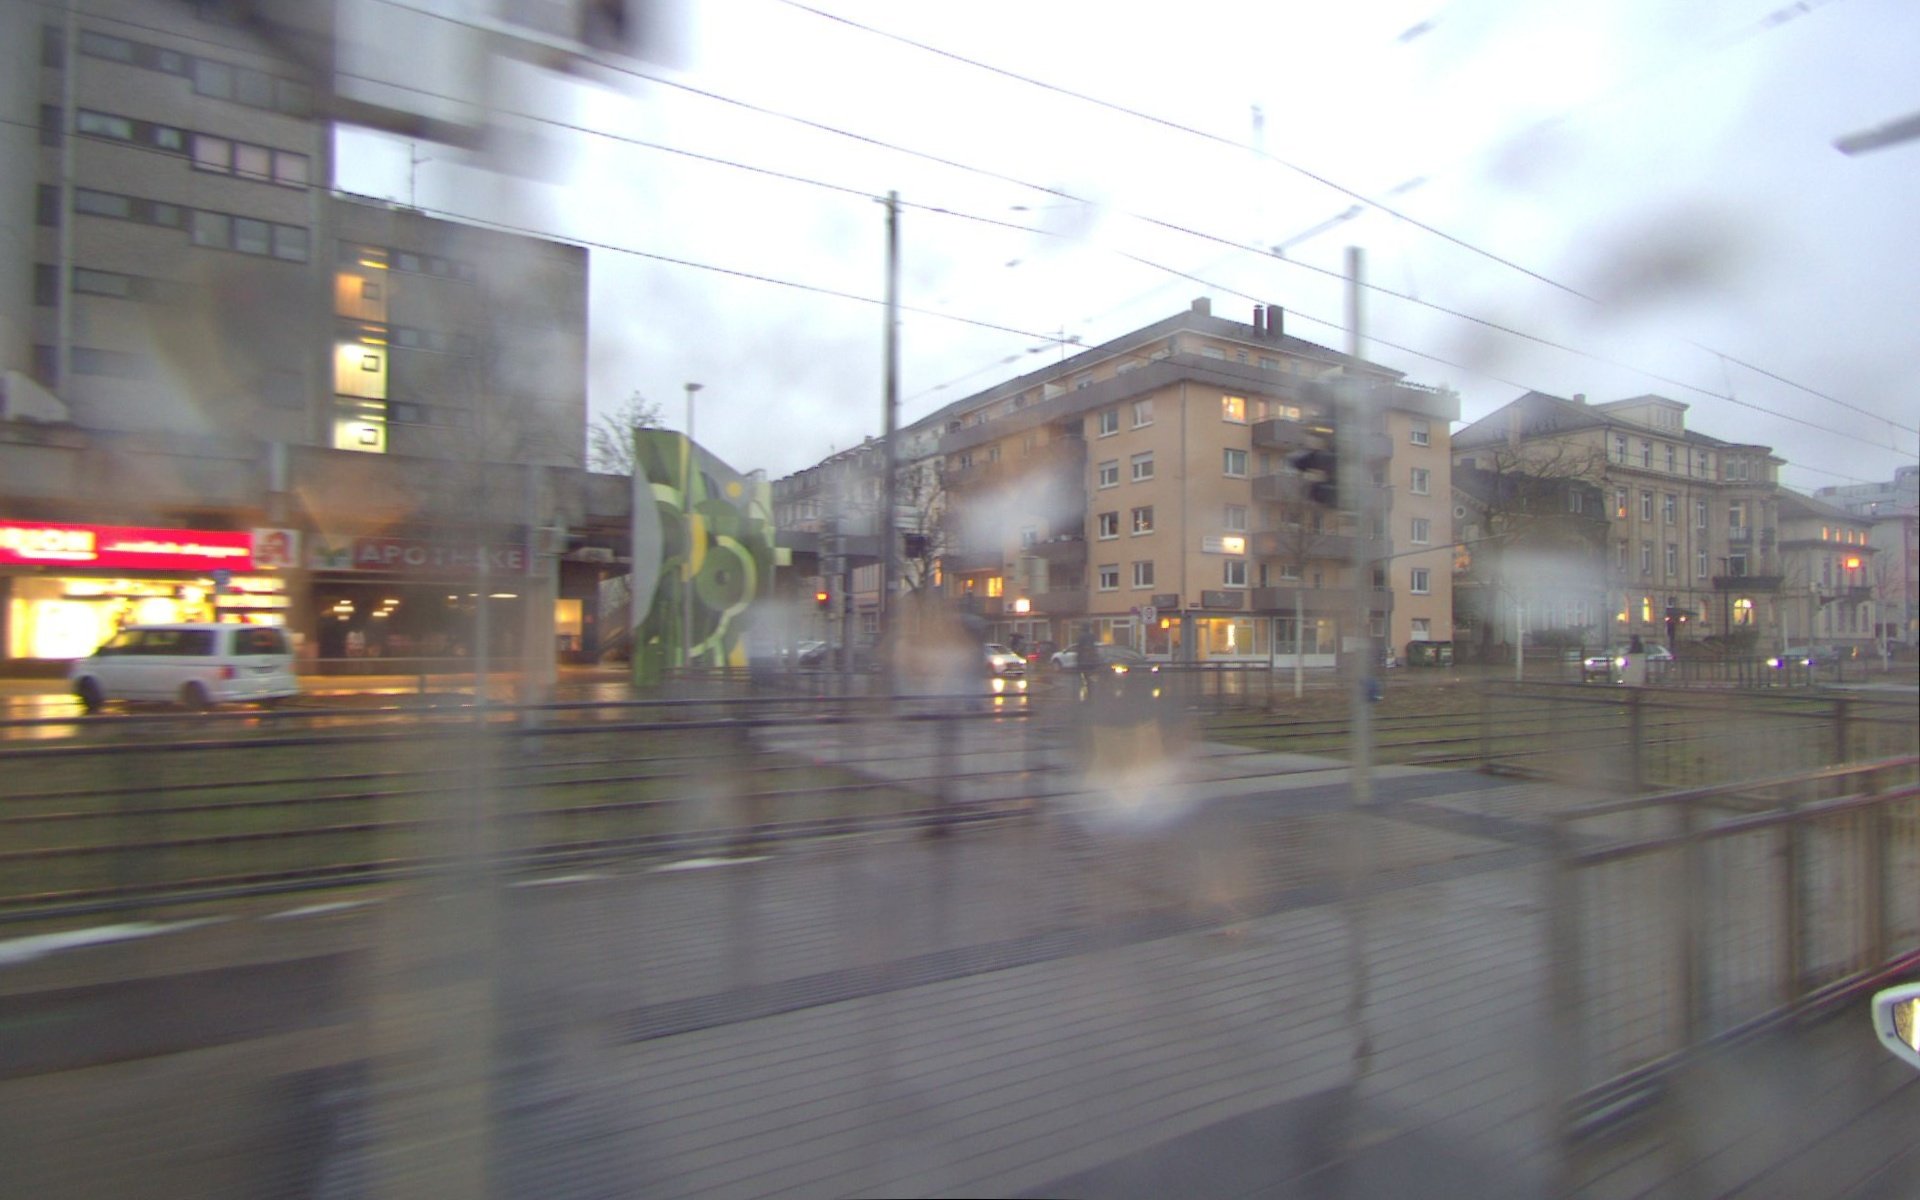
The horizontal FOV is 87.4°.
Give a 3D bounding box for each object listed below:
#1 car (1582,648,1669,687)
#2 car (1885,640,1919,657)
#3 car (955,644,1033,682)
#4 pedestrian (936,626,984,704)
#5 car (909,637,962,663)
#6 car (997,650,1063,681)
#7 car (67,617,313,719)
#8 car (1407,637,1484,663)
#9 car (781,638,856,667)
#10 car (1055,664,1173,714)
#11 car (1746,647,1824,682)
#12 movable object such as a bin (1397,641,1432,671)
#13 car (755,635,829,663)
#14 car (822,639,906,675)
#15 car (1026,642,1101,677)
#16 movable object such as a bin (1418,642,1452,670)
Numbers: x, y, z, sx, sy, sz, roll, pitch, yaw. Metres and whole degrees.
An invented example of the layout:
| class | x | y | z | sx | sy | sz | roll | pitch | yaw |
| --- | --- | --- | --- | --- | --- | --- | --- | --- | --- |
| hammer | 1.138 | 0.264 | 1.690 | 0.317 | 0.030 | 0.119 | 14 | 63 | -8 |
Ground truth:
| class | x | y | z | sx | sy | sz | roll | pitch | yaw |
| --- | --- | --- | --- | --- | --- | --- | --- | --- | --- |
| car | 30.119 | 3.024 | 45.461 | 3.955 | 1.606 | 1.792 | 2 | -1 | -32 |
| car | 82.120 | 4.171 | 87.140 | 3.885 | 1.455 | 1.796 | 1 | -3 | -33 |
| car | 1.535 | 2.905 | 46.982 | 1.667 | 1.531 | 3.964 | 2 | -1 | -33 |
| pedestrian | -0.007 | 1.285 | 20.088 | 0.625 | 1.509 | 0.784 | 1 | -2 | -38 |
| car | -1.605 | 3.133 | 63.704 | 1.738 | 1.572 | 3.806 | 1 | -2 | -31 |
| car | 3.762 | 3.530 | 54.636 | 1.738 | 1.572 | 3.806 | 1 | -2 | -31 |
| car | -17.504 | 1.477 | 22.917 | 4.480 | 2.040 | 2.001 | 2 | -1 | 13 |
| car | 29.969 | 3.071 | 62.134 | 1.813 | 1.425 | 3.966 | 3 | -2 | -31 |
| car | -7.476 | 2.755 | 53.165 | 3.542 | 1.439 | 1.712 | 2 | -2 | -34 |
| car | 5.562 | 3.199 | 36.848 | 1.974 | 1.565 | 4.673 | 1 | -2 | -26 |
| car | 40.616 | 3.156 | 49.448 | 3.955 | 1.606 | 1.792 | 2 | -1 | -32 |
| movable object such as a bin | 24.823 | 3.037 | 54.858 | 1.410 | 1.581 | 1.101 | 1 | -3 | -33 |
| car | -9.201 | 2.669 | 55.051 | 3.542 | 1.439 | 1.822 | 2 | -2 | -34 |
| car | -4.462 | 2.638 | 46.883 | 3.596 | 1.622 | 1.609 | 2 | -2 | -30 |
| car | 5.059 | 2.899 | 49.560 | 1.758 | 1.572 | 3.806 | 1 | -2 | -31 |
| movable object such as a bin | 26.320 | 3.080 | 55.620 | 1.410 | 1.500 | 1.101 | 1 | -3 | -33 |
